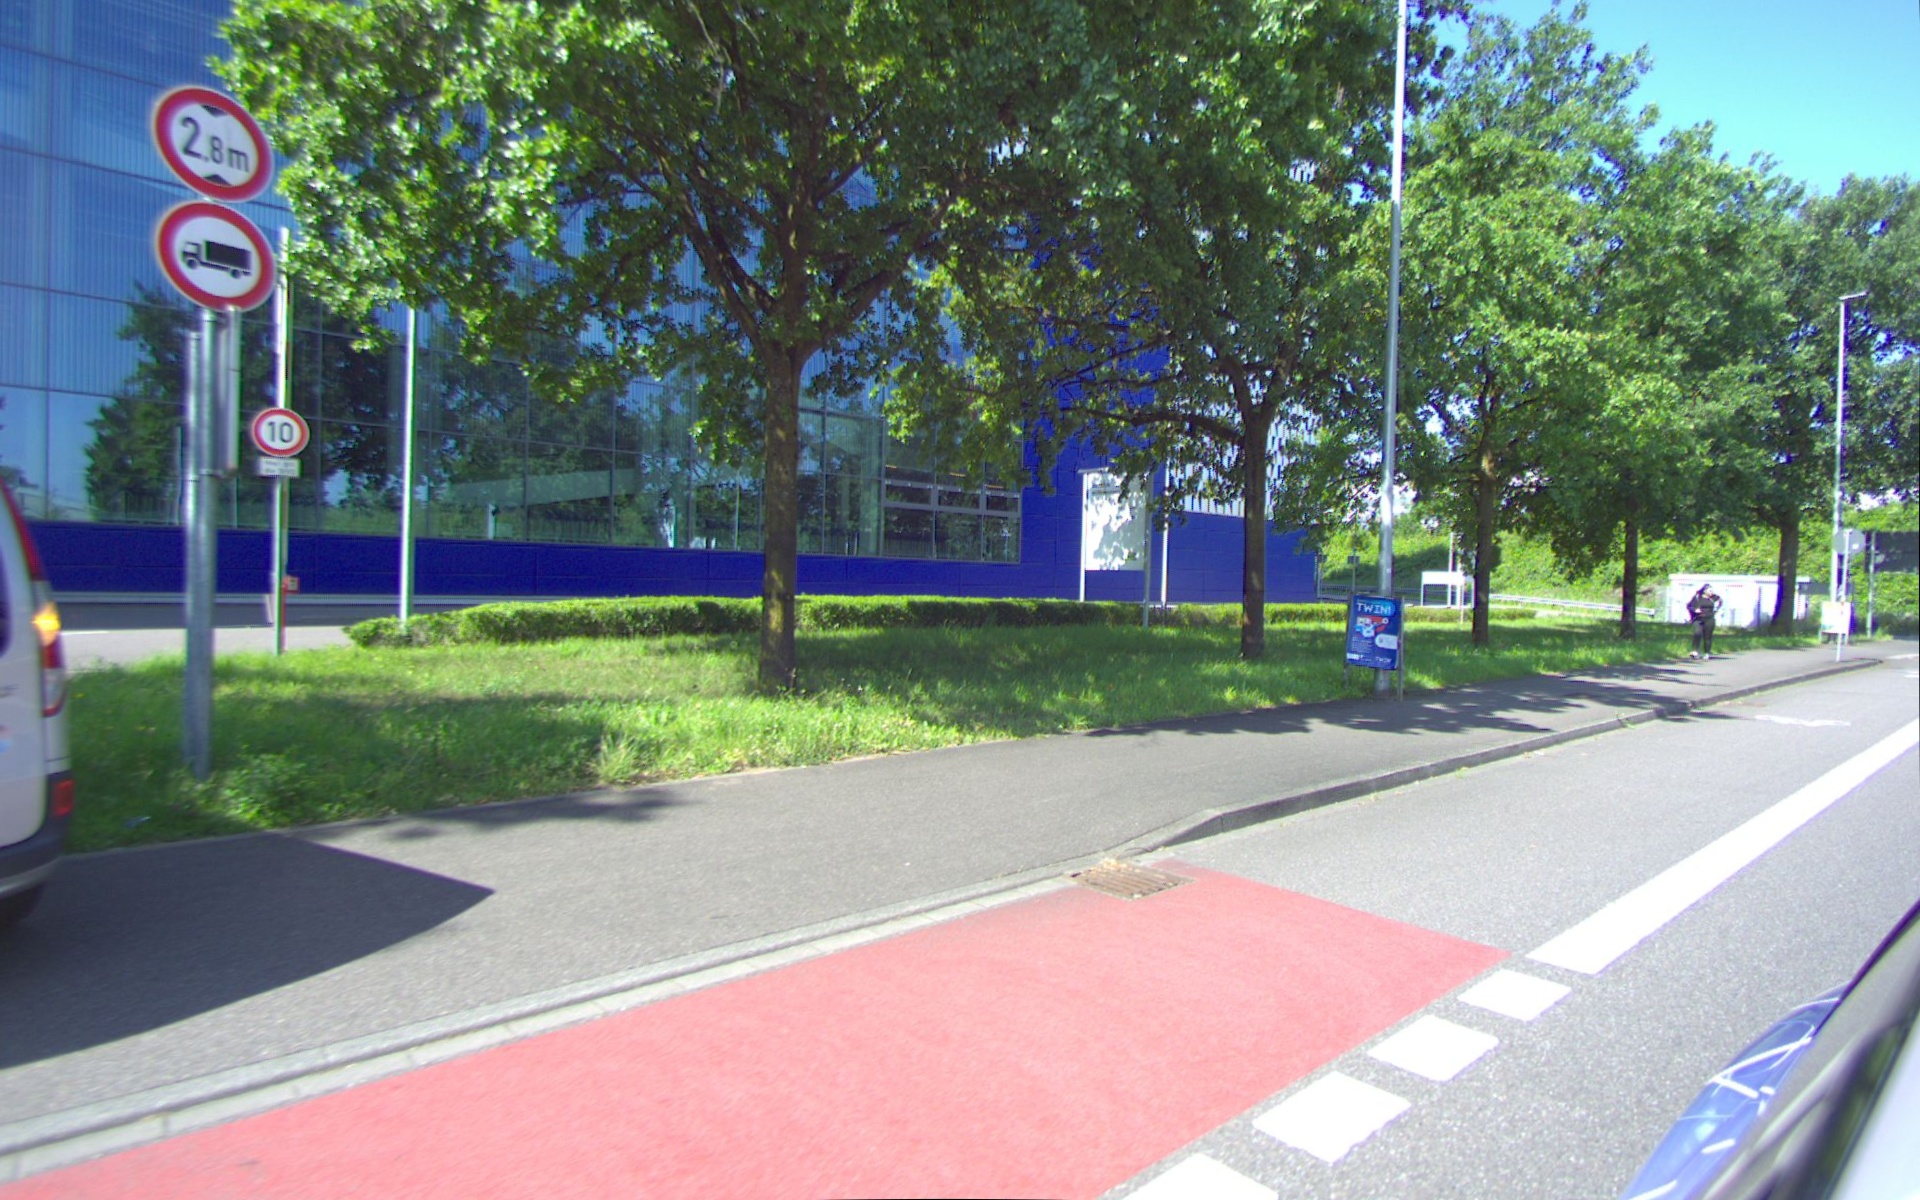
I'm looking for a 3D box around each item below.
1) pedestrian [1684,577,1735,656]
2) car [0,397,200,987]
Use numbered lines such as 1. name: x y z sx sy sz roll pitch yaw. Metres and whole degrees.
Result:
1. pedestrian: 15.780 0.337 21.299 0.831 1.623 0.648 1 1 -39
2. car: -5.057 0.235 3.551 4.128 1.851 1.899 2 1 20
